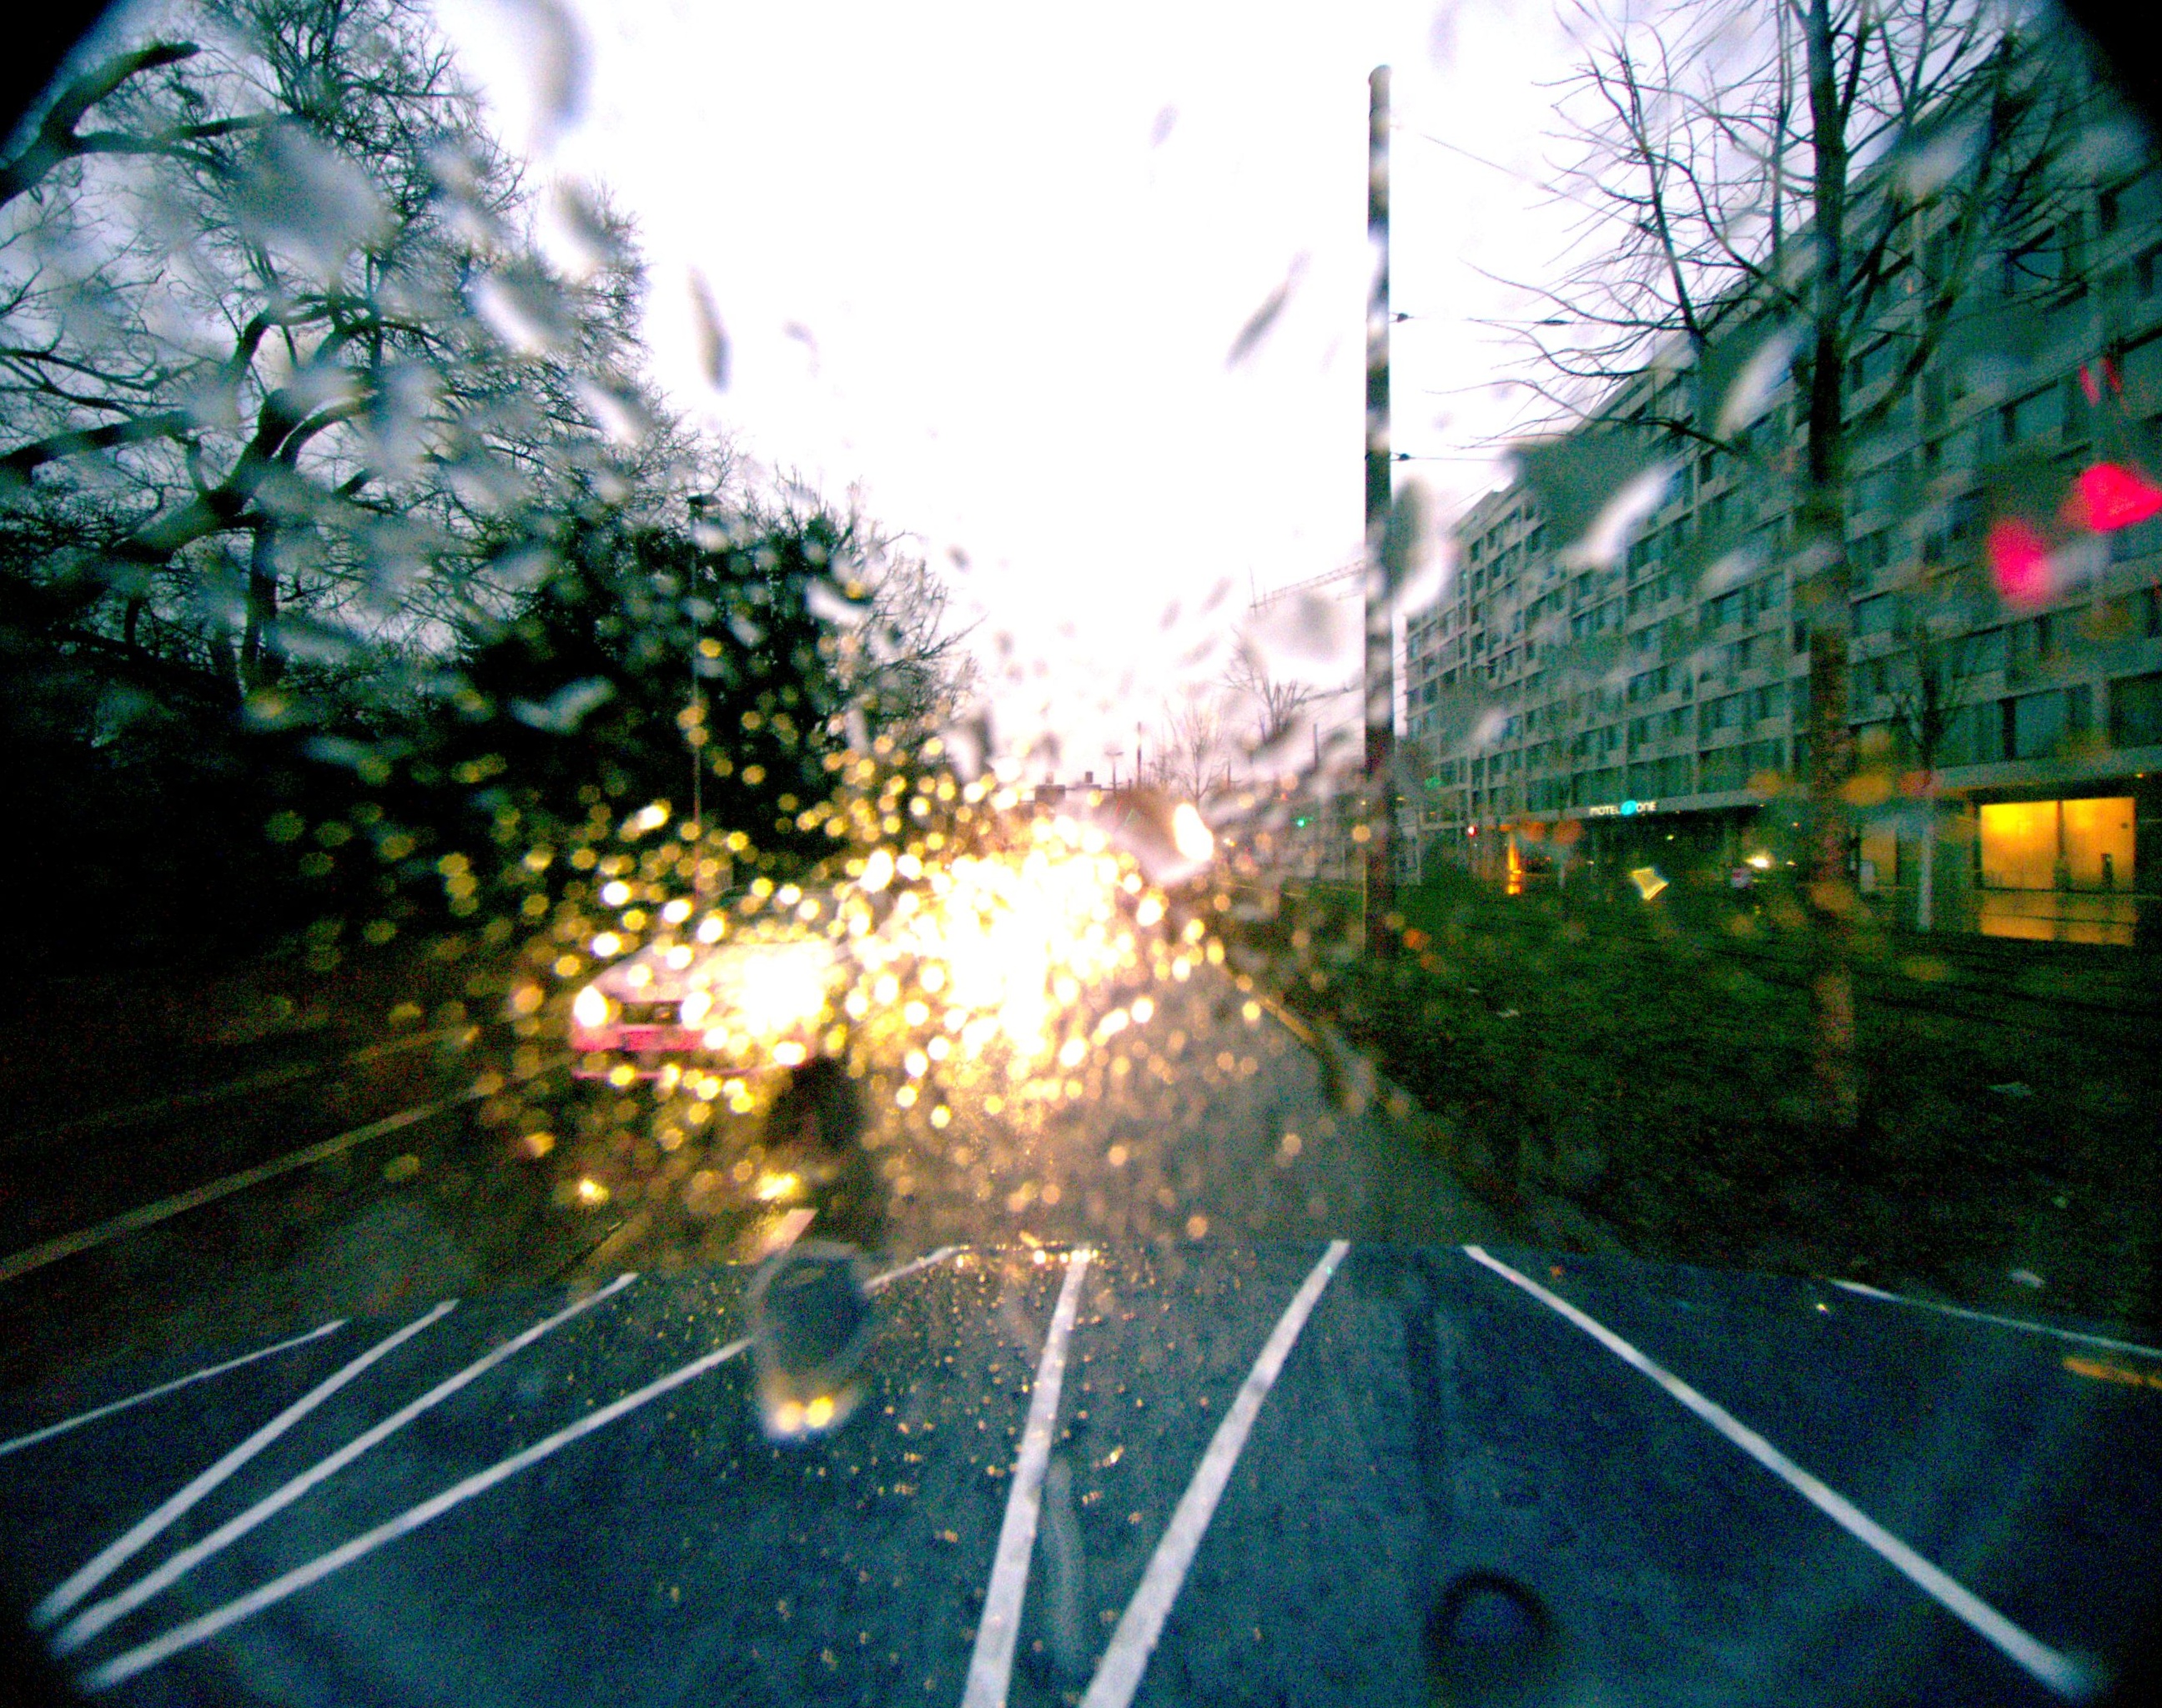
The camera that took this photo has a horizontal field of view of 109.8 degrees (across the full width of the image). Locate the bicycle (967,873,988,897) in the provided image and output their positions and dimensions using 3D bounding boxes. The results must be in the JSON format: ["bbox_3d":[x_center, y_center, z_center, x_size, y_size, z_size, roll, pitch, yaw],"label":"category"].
[{"bbox_3d":[-4.904,1.460,36.215,0.691,1.036,1.721,-2,1,1],"label":"bicycle"}]

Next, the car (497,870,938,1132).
[{"bbox_3d":[-2.659,0.962,6.823,1.886,1.552,4.171,0,0,1],"label":"car"}]

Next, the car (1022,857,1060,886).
[{"bbox_3d":[-2.389,1.029,46.935,1.998,1.618,4.268,-2,0,1],"label":"car"}]

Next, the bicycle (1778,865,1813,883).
[{"bbox_3d":[36.312,1.014,38.639,1.349,0.849,0.465,-2,1,-1],"label":"bicycle"}]

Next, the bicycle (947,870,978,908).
[{"bbox_3d":[-5.099,1.480,32.969,0.968,1.442,3.388,-2,1,-4],"label":"bicycle"}]

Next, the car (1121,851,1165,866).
[{"bbox_3d":[7.307,0.550,90.110,5.039,1.659,2.088,0,0,0],"label":"car"}]

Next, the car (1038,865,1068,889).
[{"bbox_3d":[-2.119,1.637,56.093,1.999,1.618,4.266,-1,0,-5],"label":"car"}]

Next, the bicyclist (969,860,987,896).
[{"bbox_3d":[-4.918,1.144,36.267,0.691,1.675,0.593,-2,1,1],"label":"bicyclist"}]

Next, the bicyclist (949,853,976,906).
[{"bbox_3d":[-5.151,1.104,33.055,0.968,2.210,0.935,-2,1,-4],"label":"bicyclist"}]

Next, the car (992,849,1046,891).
[{"bbox_3d":[-2.629,0.628,32.962,2.073,1.618,4.267,-2,0,-2],"label":"car"}]

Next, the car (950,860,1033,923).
[{"bbox_3d":[-2.662,1.078,23.545,2.073,1.618,4.267,-2,0,-1],"label":"car"}]
